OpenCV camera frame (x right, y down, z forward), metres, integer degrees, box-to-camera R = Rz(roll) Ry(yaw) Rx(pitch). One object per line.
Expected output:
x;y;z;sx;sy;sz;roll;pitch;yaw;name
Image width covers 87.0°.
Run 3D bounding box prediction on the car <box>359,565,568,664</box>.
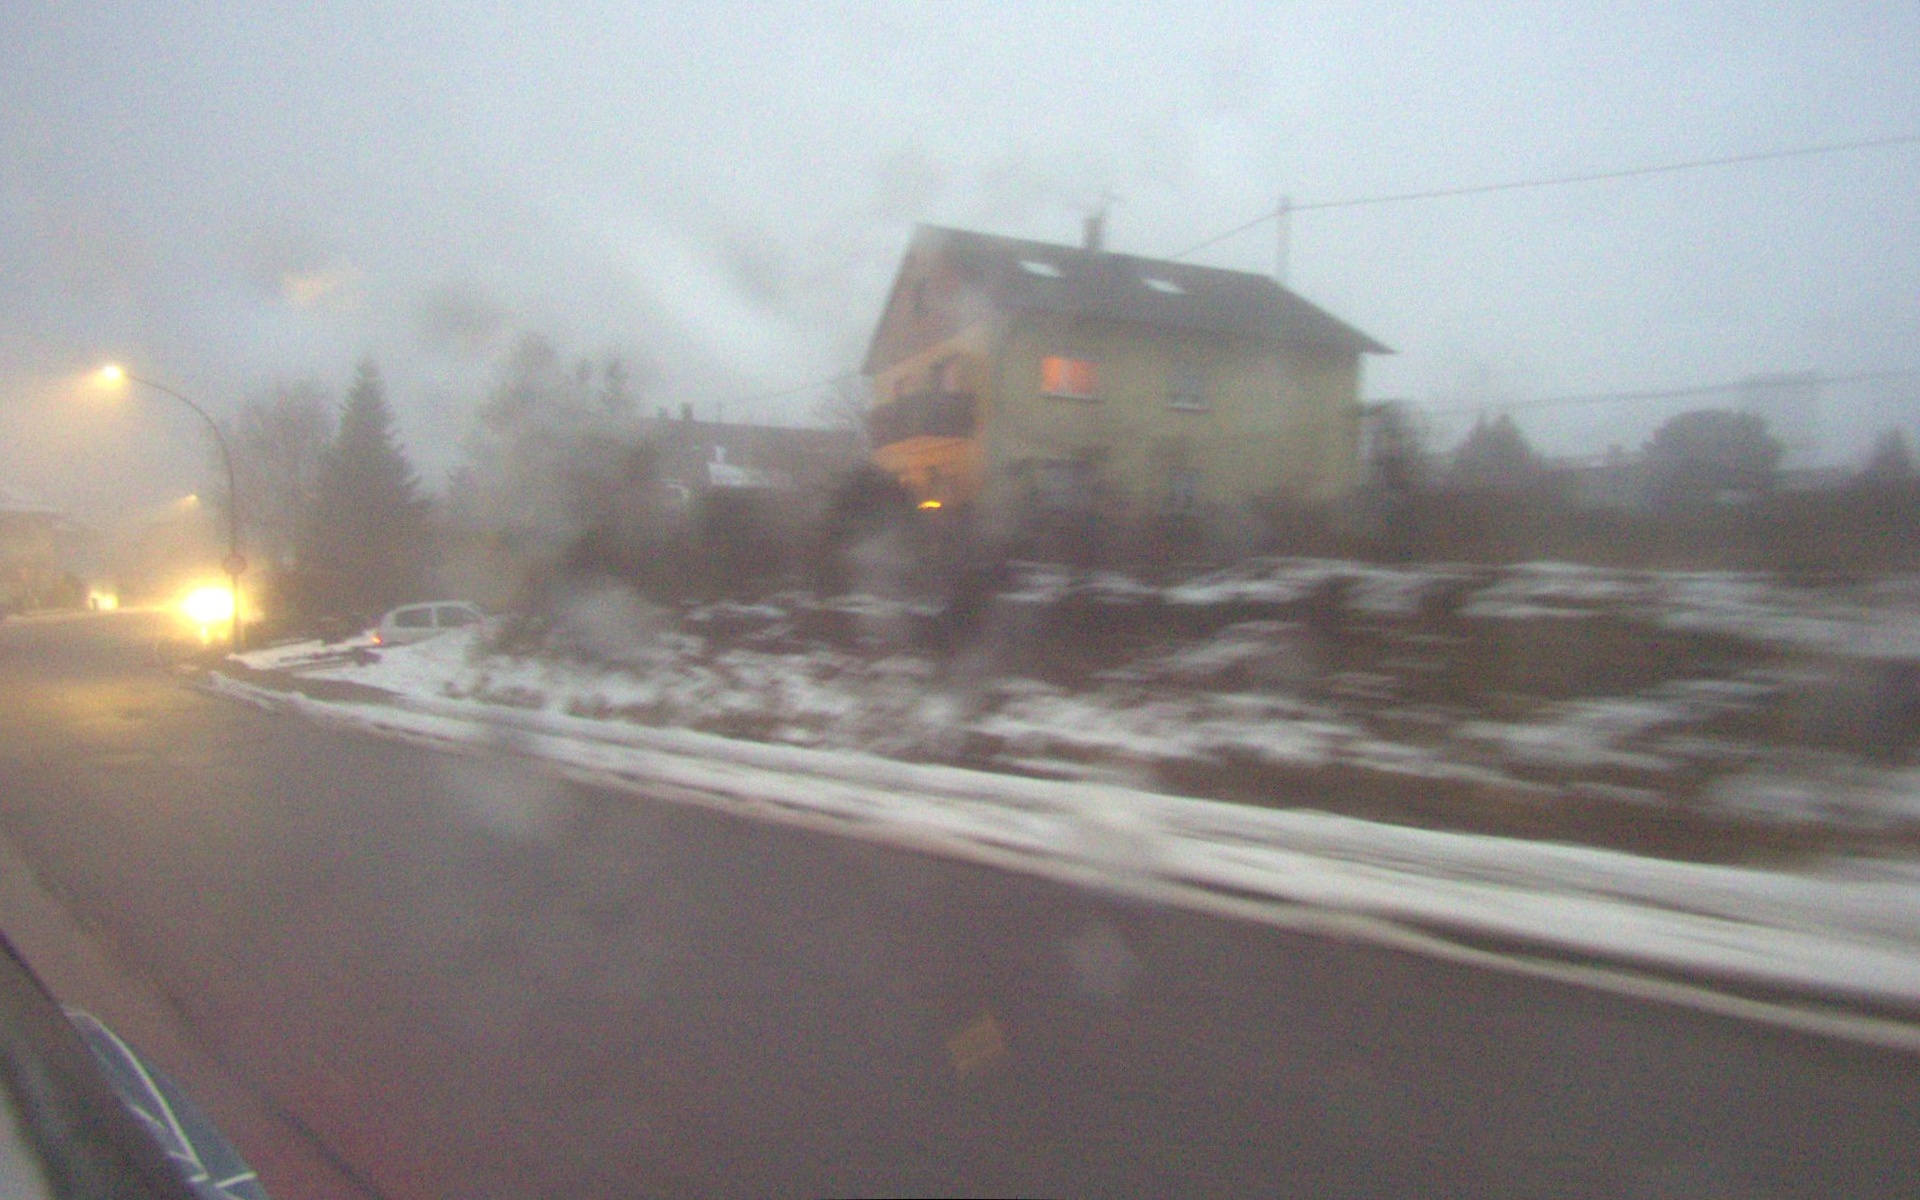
-11.628;0.275;23.999;3.936;1.619;1.909;-8;6;-12;car
